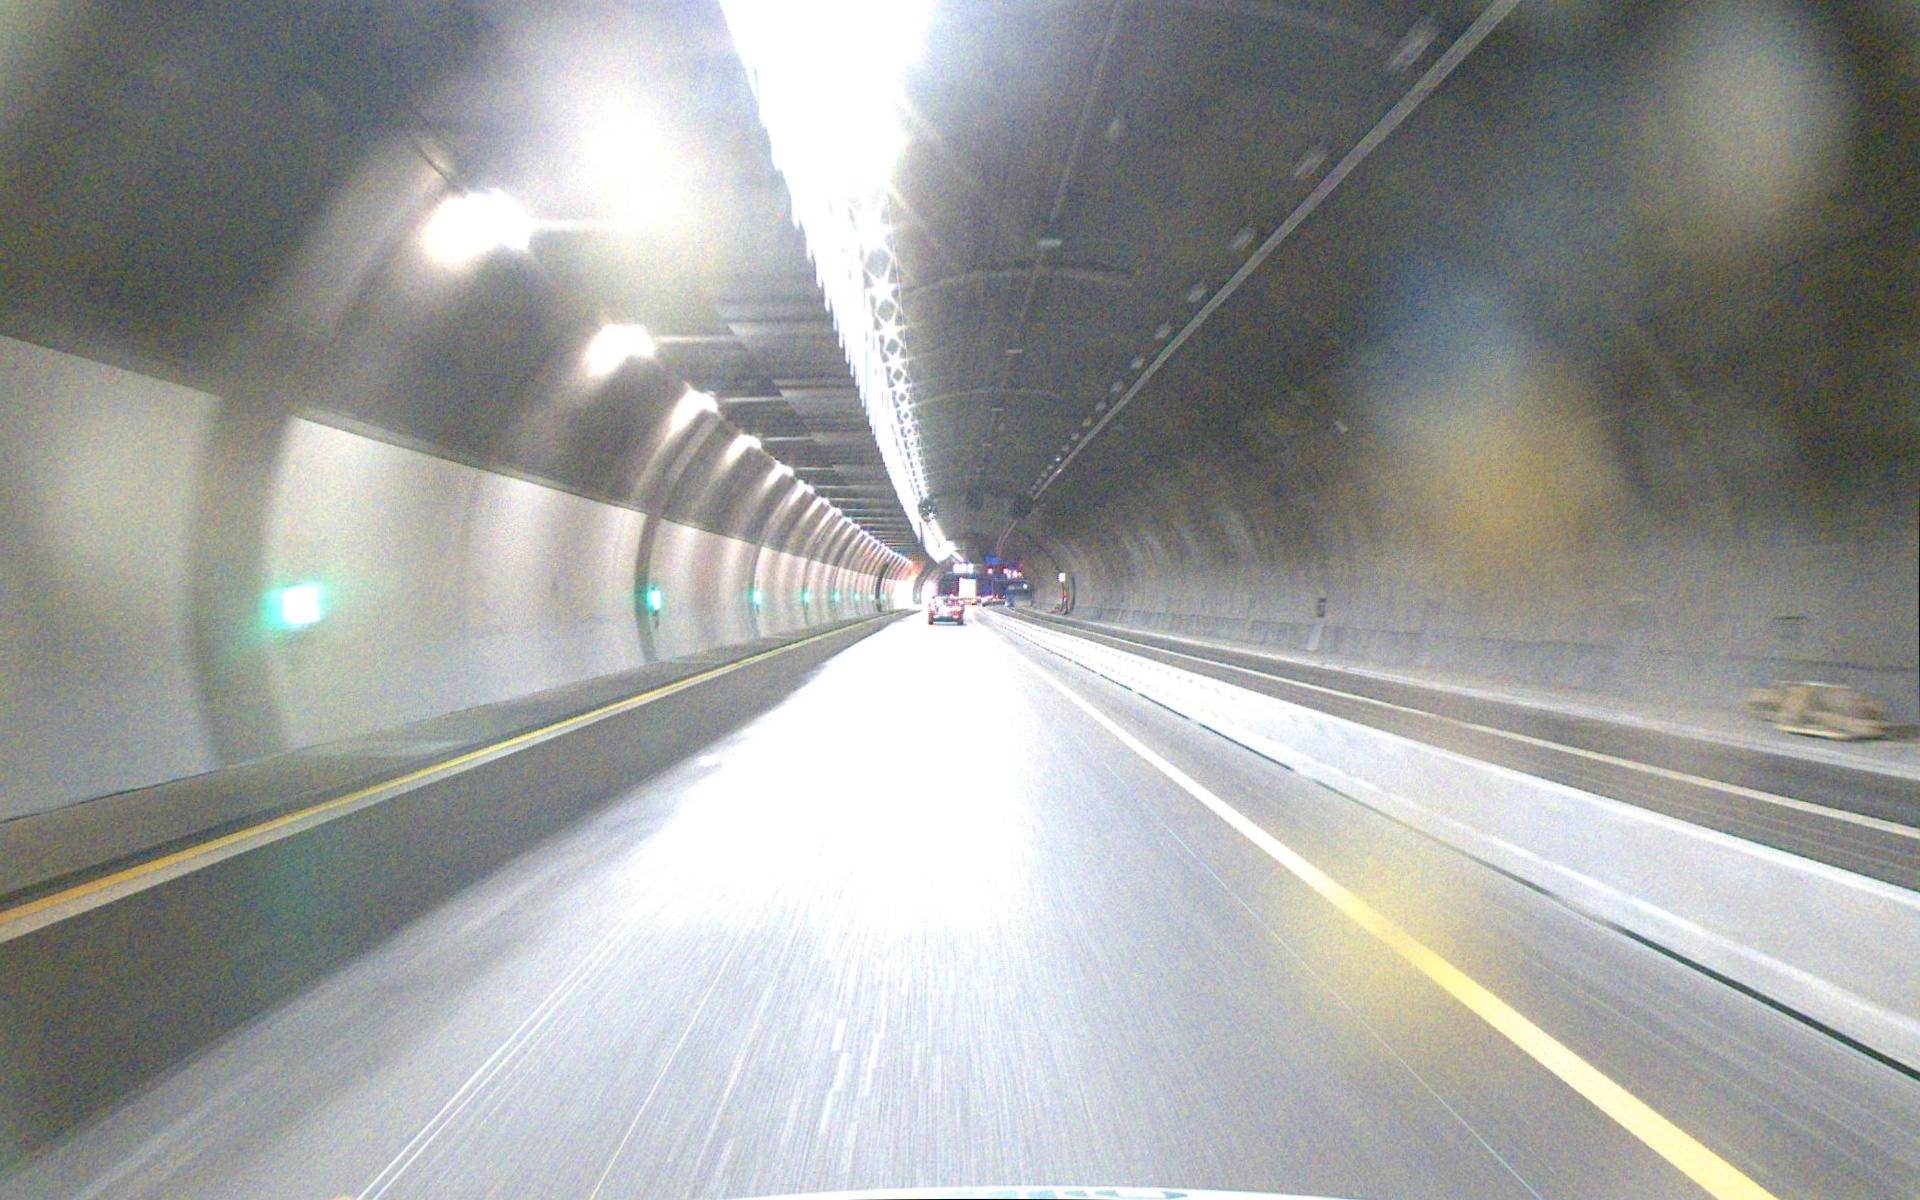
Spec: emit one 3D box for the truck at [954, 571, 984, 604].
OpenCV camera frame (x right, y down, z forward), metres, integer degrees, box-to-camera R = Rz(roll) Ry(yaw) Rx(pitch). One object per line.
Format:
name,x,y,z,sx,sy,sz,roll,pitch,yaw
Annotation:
truck,1.476,-1.910,261.903,4.452,5.074,9.600,1,0,1

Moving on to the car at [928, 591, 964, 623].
car,-0.751,0.363,86.984,1.849,1.635,3.999,1,0,-1

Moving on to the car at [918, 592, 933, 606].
car,-4.333,-0.111,207.719,1.790,1.635,3.999,1,0,-1

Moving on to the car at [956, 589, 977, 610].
car,0.615,-0.059,158.565,1.953,2.049,3.999,0,0,-1
